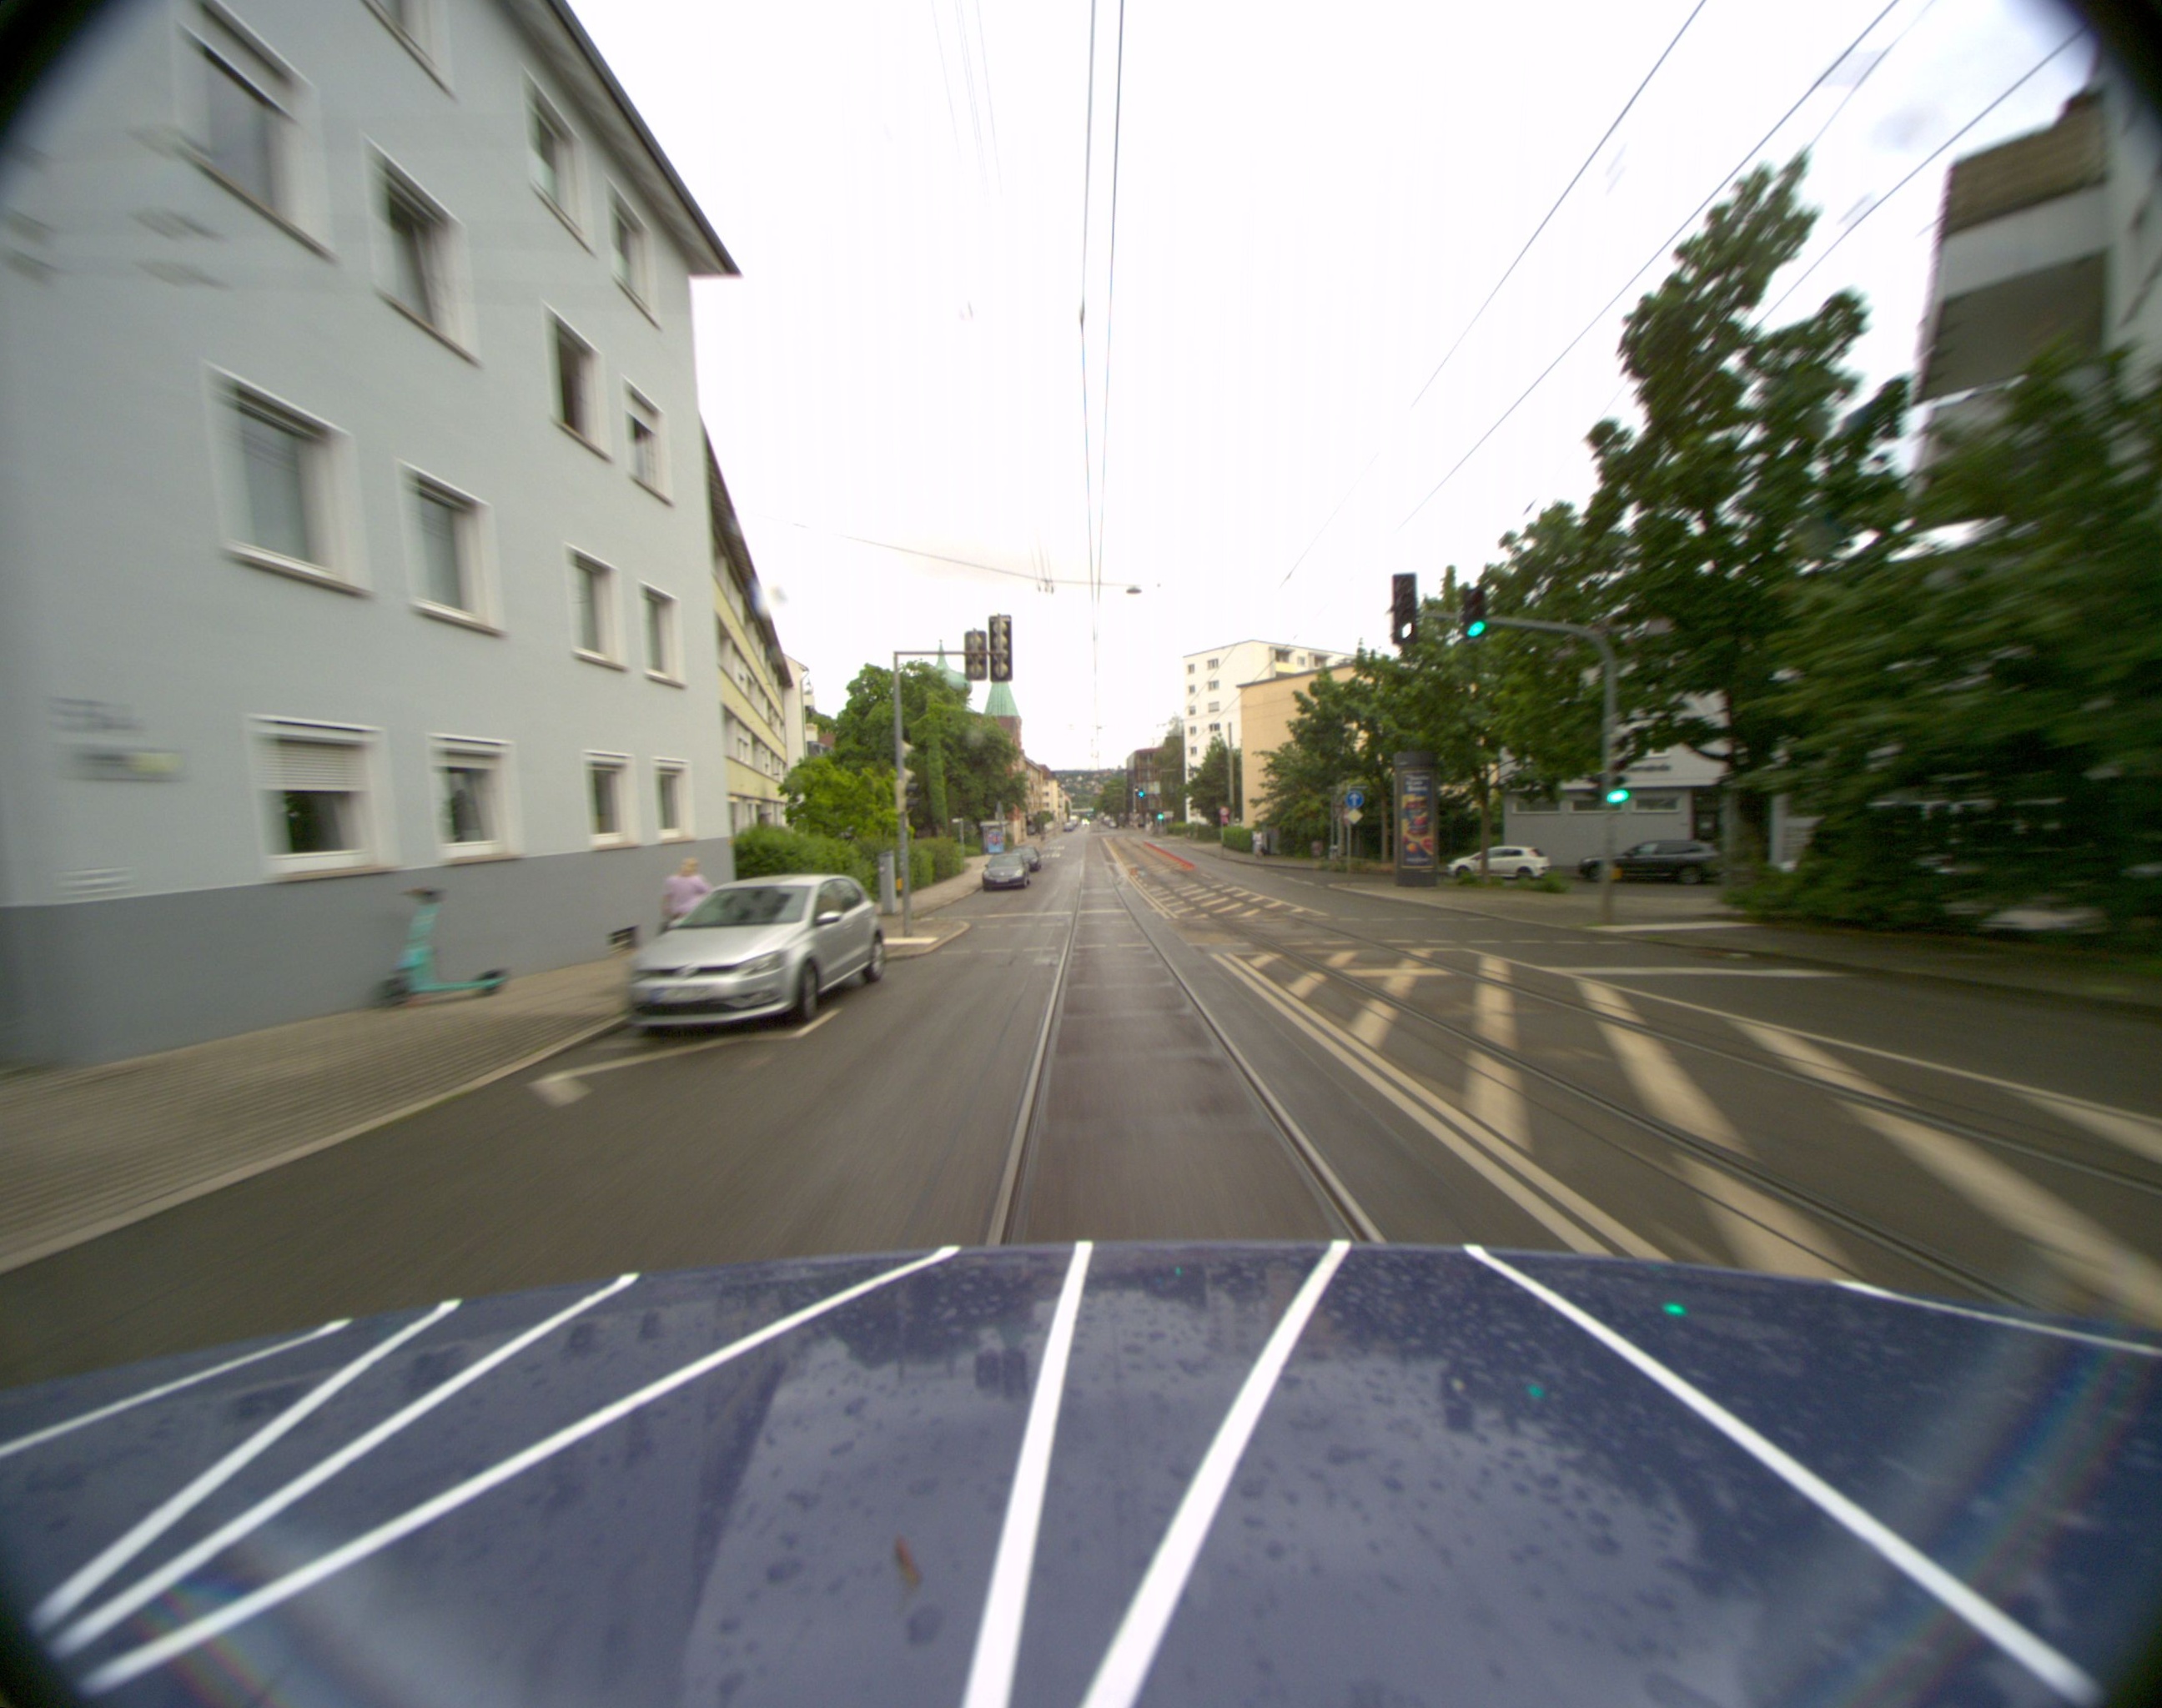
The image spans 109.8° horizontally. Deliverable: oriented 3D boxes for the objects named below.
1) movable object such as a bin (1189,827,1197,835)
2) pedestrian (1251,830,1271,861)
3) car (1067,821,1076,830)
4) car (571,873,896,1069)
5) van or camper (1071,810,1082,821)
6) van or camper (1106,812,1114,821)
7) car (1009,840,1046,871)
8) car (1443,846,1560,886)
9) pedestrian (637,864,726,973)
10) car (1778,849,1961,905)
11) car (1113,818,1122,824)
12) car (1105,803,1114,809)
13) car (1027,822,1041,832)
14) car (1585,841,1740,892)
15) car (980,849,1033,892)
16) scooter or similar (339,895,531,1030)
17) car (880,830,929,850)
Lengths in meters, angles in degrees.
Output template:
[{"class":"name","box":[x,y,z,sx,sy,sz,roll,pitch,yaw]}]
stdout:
[{"class":"movable object such as a bin","box":[12.690,-2.638,85.993,0.688,0.877,0.759,-3,5,-4]},{"class":"pedestrian","box":[11.187,-0.543,47.233,0.921,1.836,1.016,-4,5,-4]},{"class":"car","box":[-2.006,-5.917,156.696,1.734,1.452,4.474,-3,4,0]},{"class":"car","box":[-3.493,1.064,8.602,1.709,1.425,4.100,-3,1,0]},{"class":"van or camper","box":[-1.272,-11.523,226.330,2.754,3.042,7.025,-2,4,2]},{"class":"van or camper","box":[9.323,-12.168,244.835,2.143,2.589,5.546,-3,5,2]},{"class":"car","box":[-3.108,0.069,44.934,1.863,1.479,4.642,-3,3,-1]},{"class":"car","box":[18.722,0.464,33.924,2.003,1.473,4.148,-7,6,-43]},{"class":"pedestrian","box":[-5.967,0.938,11.387,0.884,1.574,0.801,-1,0,3]},{"class":"car","box":[26.566,0.706,25.811,4.160,1.571,1.845,1,6,44]},{"class":"car","box":[8.987,-8.167,188.962,1.727,1.456,4.326,-1,3,-4]},{"class":"car","box":[6.498,-10.913,173.209,1.862,1.387,4.642,-1,3,0]},{"class":"car","box":[-7.781,-4.442,125.348,1.858,1.495,4.445,1,5,1]},{"class":"car","box":[22.714,0.403,29.794,4.626,1.697,1.845,1,6,44]},{"class":"car","box":[-3.174,0.665,33.273,1.945,1.456,4.203,-3,3,-1]},{"class":"scooter or similar","box":[-6.845,1.093,8.164,0.576,1.242,1.611,0,-1,6]},{"class":"car","box":[-15.248,-1.229,65.531,4.371,1.550,1.845,1,6,42]}]
